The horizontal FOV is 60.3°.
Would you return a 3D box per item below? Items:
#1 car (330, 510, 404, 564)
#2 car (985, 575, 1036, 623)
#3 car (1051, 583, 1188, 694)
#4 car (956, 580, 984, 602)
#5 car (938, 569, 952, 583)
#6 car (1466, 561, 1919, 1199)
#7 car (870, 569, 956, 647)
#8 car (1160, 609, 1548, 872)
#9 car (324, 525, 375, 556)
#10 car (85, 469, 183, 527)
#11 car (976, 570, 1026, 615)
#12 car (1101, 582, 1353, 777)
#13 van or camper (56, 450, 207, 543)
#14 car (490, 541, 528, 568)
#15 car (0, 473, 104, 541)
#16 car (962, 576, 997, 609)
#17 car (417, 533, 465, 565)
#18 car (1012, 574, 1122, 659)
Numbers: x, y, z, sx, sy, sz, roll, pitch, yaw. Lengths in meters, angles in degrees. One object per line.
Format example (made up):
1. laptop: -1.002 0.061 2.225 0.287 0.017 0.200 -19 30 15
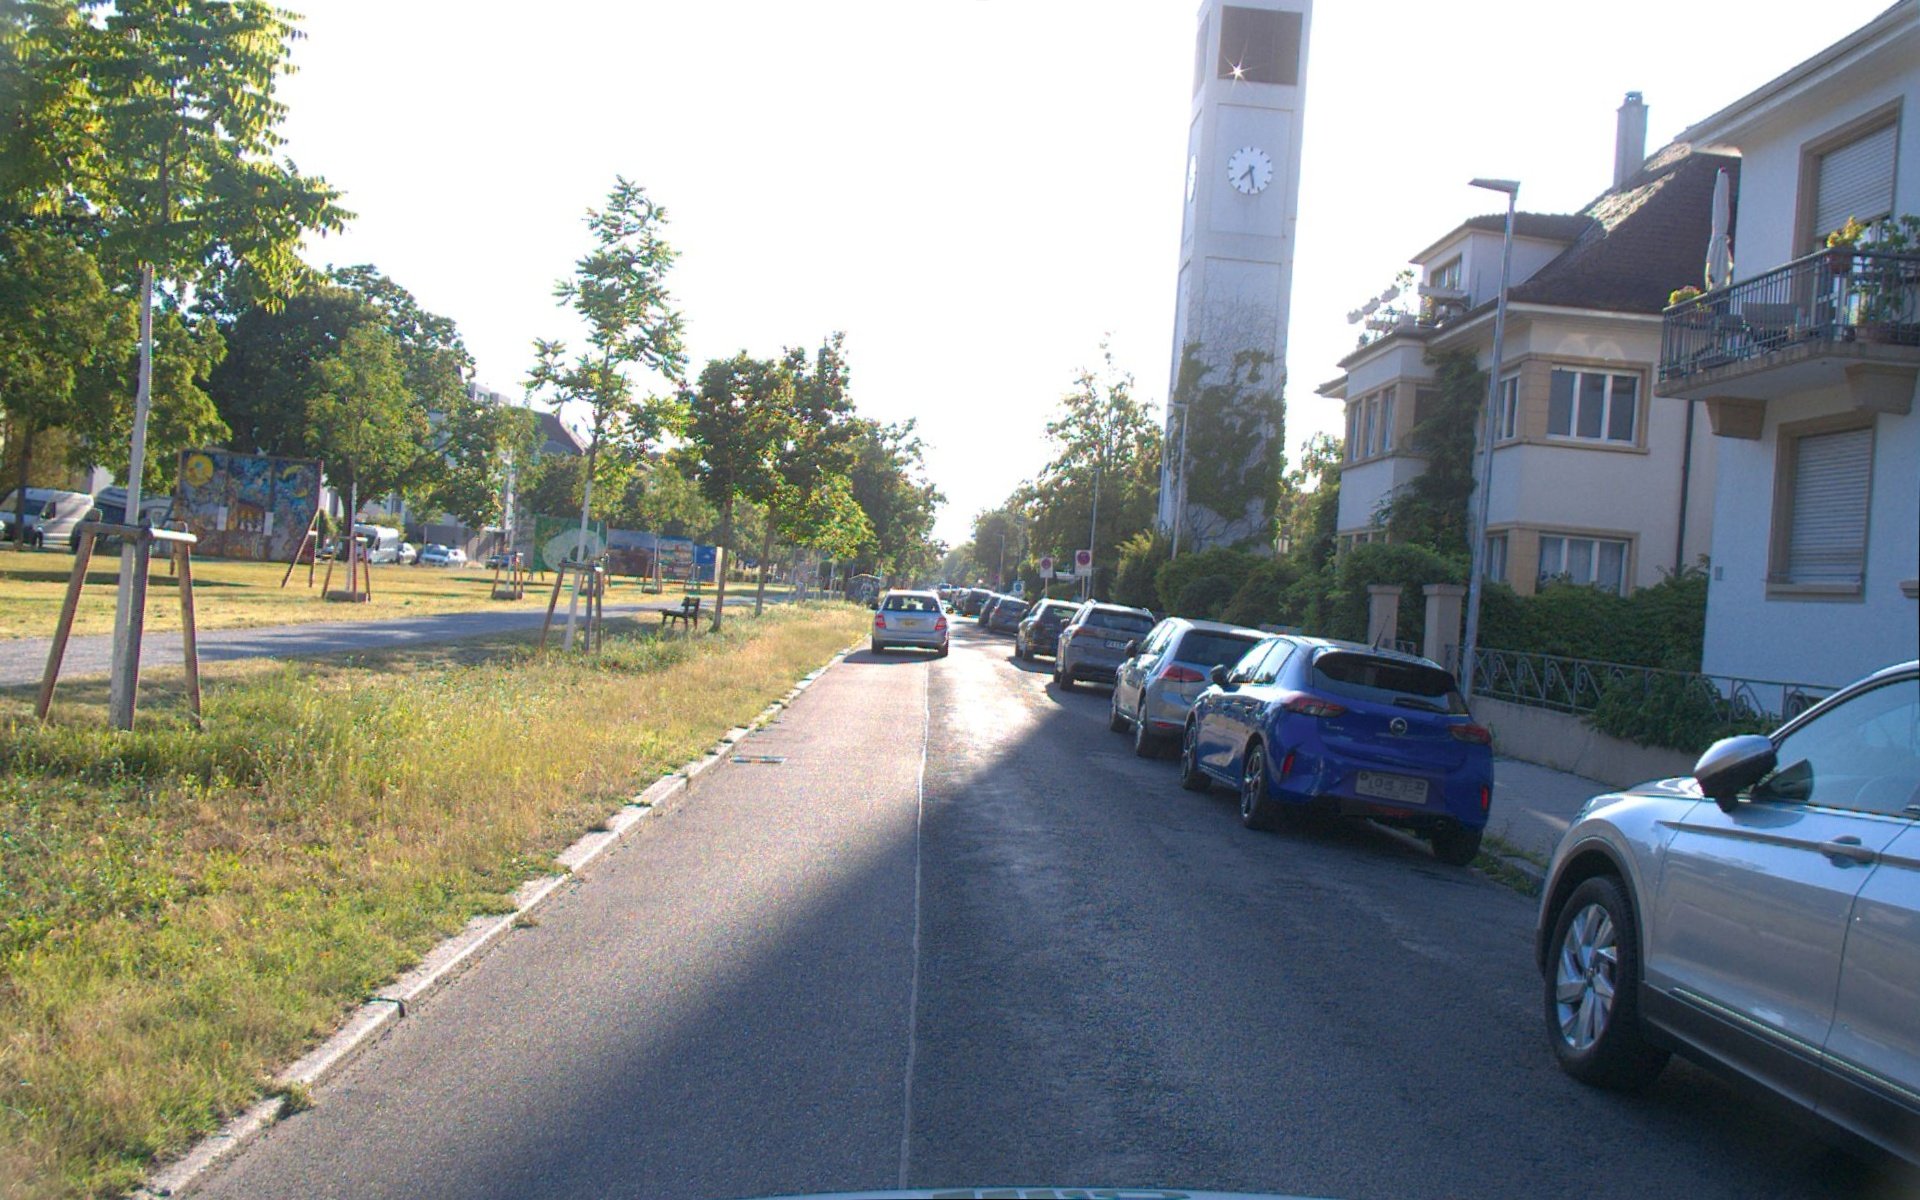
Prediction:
1. car: -34.813 -3.641 97.271 2.214 2.875 5.870 1 0 -1
2. car: 1.968 -0.057 65.366 1.655 1.553 4.174 8 1 -1
3. car: 2.703 0.642 29.027 1.846 1.562 4.462 8 0 1
4. car: 0.775 -0.713 128.445 1.954 1.487 4.562 6 1 0
5. car: -2.350 -3.696 257.106 1.948 2.058 4.000 5 0 -1
6. car: 3.158 0.878 4.509 1.767 1.675 4.582 9 -1 -3
7. car: -1.043 0.144 38.058 1.787 1.593 4.000 3 1 -1
8. car: 2.944 0.969 13.389 1.730 1.458 4.301 11 0 -3
9. car: -40.945 -3.988 111.000 1.695 1.887 4.713 1 0 -1
10. car: -34.164 -4.198 68.519 1.953 2.048 4.000 5 1 0
11. car: 1.754 -0.369 72.303 1.788 1.586 4.621 10 1 -1
12. car: 2.856 0.773 18.779 1.874 1.585 4.566 9 2 -1
13. van or camper: -34.164 -4.198 68.519 2.589 3.318 6.904 4 1 0
14. car: -35.708 -3.565 131.060 1.851 1.950 4.326 1 0 -1
15. car: -40.620 -4.092 73.611 1.953 2.643 6.088 1 0 -1
16. car: 1.167 -0.426 100.712 1.796 1.761 5.030 7 0 -2
17. car: -35.400 -3.460 112.892 1.796 1.932 4.642 1 0 0
18. car: 2.490 0.369 39.805 1.955 1.624 4.884 9 0 -2
